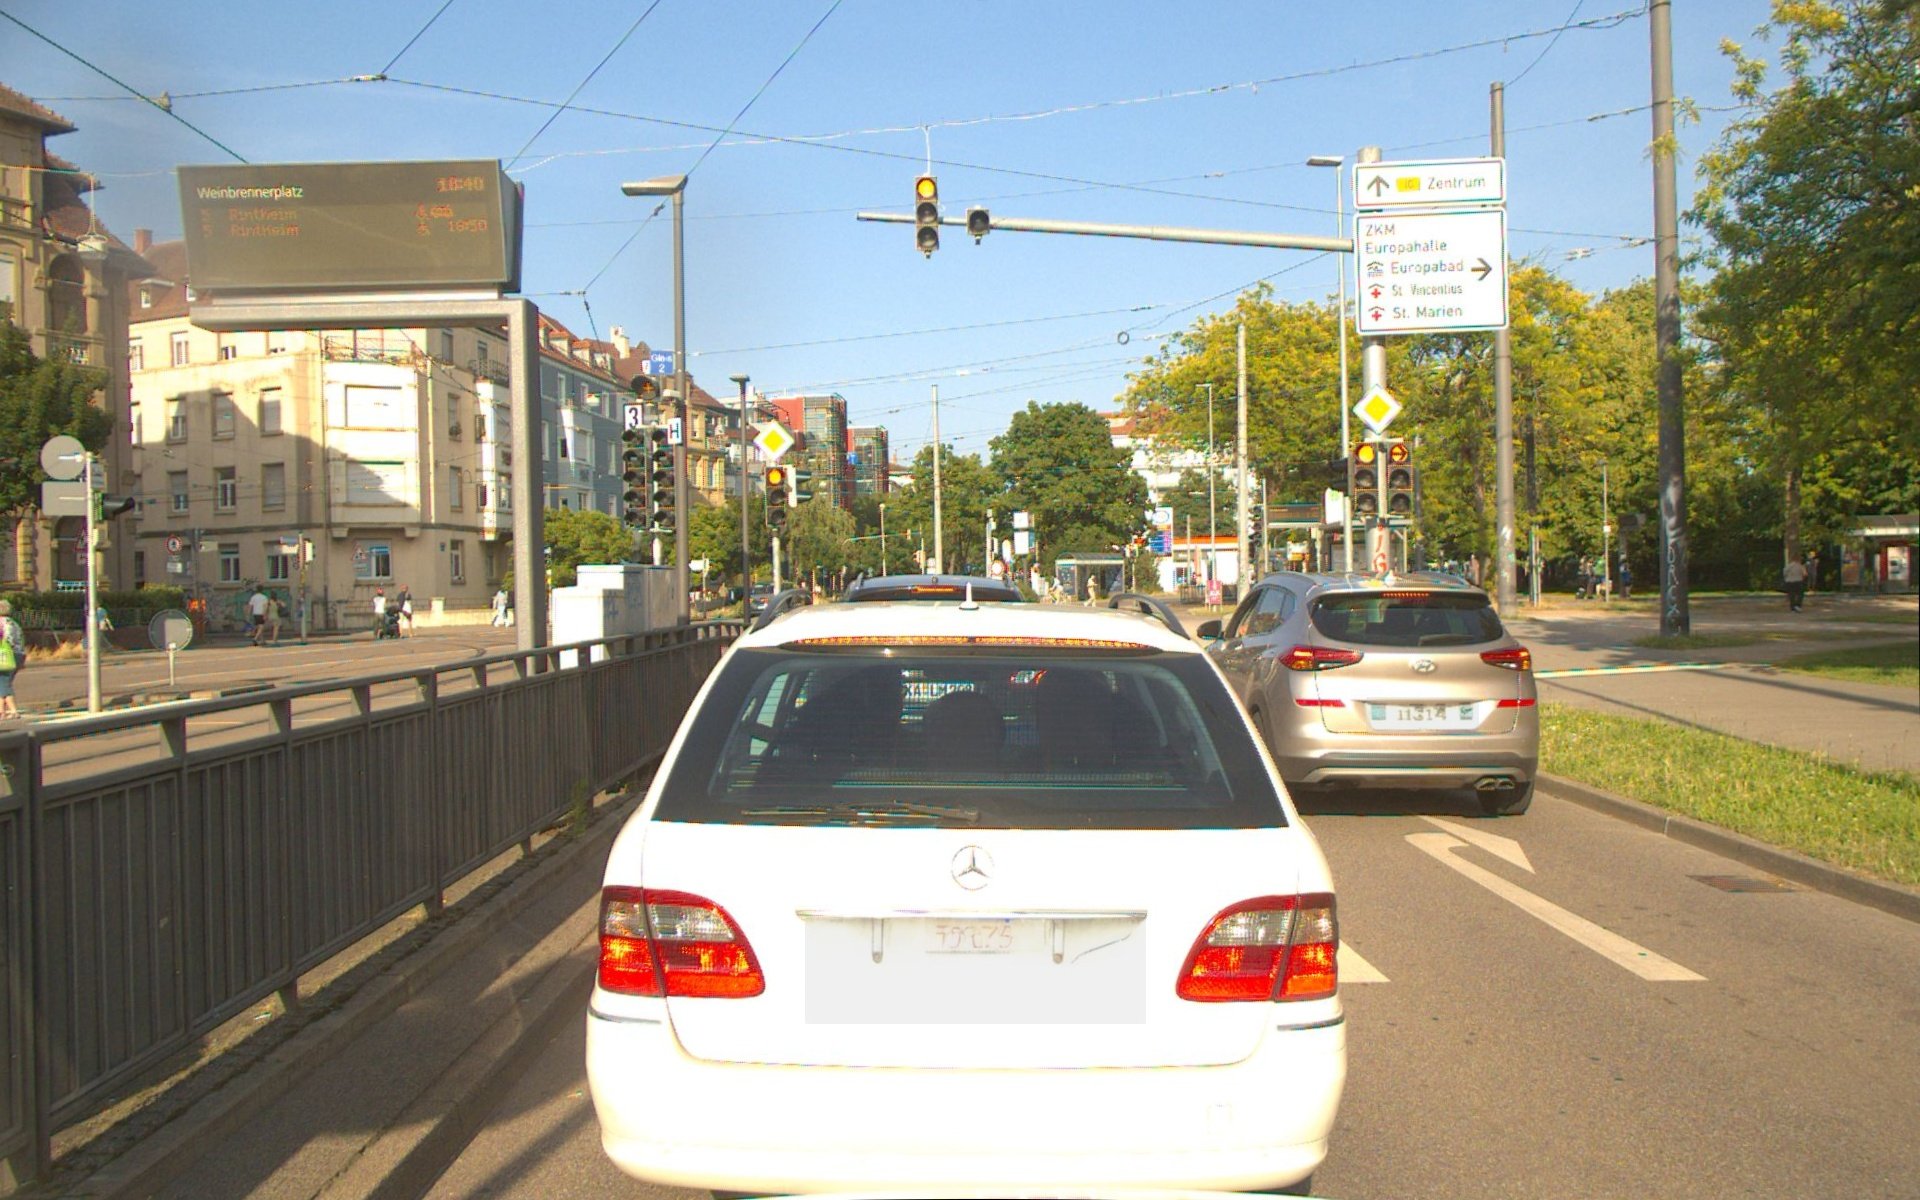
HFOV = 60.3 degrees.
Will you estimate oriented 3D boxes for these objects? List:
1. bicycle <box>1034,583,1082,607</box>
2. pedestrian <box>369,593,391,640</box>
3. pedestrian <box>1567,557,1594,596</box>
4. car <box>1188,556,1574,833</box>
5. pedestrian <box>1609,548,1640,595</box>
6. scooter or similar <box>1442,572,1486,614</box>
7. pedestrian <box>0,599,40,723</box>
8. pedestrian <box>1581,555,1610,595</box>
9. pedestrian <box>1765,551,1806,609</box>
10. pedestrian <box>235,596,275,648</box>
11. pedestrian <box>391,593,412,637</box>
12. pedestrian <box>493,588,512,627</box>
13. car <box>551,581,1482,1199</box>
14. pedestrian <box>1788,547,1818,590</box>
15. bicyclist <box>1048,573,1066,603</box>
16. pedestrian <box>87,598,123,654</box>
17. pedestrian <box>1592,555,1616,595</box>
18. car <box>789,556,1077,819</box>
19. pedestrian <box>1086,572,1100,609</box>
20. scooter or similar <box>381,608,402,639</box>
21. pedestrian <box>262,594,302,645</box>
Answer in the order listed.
[{"bbox_3d":[5.159,-0.262,87.266,2.430,1.234,0.807,-1,0,7],"label":"bicycle"},{"bbox_3d":[-20.407,0.575,58.211,0.497,1.654,0.608,-1,0,0],"label":"pedestrian"},{"bbox_3d":[24.063,-0.916,64.136,0.809,1.513,0.690,-2,0,-42],"label":"pedestrian"},{"bbox_3d":[2.891,0.576,12.183,1.846,1.680,3.647,-2,0,-1],"label":"car"},{"bbox_3d":[25.888,-1.112,64.416,0.784,1.816,0.838,-1,0,-5],"label":"pedestrian"},{"bbox_3d":[13.937,-0.198,45.752,0.413,1.136,1.322,-1,0,-20],"label":"scooter or similar"},{"bbox_3d":[-12.816,0.812,22.190,0.601,1.627,0.632,-1,0,-7],"label":"pedestrian"},{"bbox_3d":[24.870,-0.982,64.756,0.799,1.513,0.699,-1,0,-12],"label":"pedestrian"},{"bbox_3d":[23.892,-0.580,47.879,0.748,1.665,0.797,-2,0,-40],"label":"pedestrian"},{"bbox_3d":[-22.145,0.693,51.939,0.812,1.579,0.782,-1,0,21],"label":"pedestrian"},{"bbox_3d":[-19.659,0.528,58.213,0.428,1.527,0.549,-1,0,14],"label":"pedestrian"},{"bbox_3d":[-19.682,0.320,71.126,0.607,1.689,0.586,-1,0,2],"label":"pedestrian"},{"bbox_3d":[0.074,0.702,4.951,1.759,1.496,3.647,0,0,-1],"label":"car"},{"bbox_3d":[33.312,-1.246,65.365,0.818,1.665,0.803,-1,0,5],"label":"pedestrian"},{"bbox_3d":[5.108,-0.636,87.289,0.842,1.507,0.790,-1,0,8],"label":"bicyclist"},{"bbox_3d":[-24.297,0.741,47.023,0.616,1.568,0.711,-1,0,-1],"label":"pedestrian"},{"bbox_3d":[24.610,-0.962,63.240,0.797,1.513,0.700,-1,0,24],"label":"pedestrian"},{"bbox_3d":[-0.198,0.554,12.571,1.846,1.680,3.647,1,0,-1],"label":"car"},{"bbox_3d":[6.810,-0.482,84.592,0.628,1.889,0.552,-1,0,11],"label":"pedestrian"},{"bbox_3d":[-20.311,0.827,59.106,0.532,1.098,0.683,1,0,-1],"label":"scooter or similar"},{"bbox_3d":[-21.267,0.610,51.872,0.812,1.579,0.782,-1,0,21],"label":"pedestrian"}]
